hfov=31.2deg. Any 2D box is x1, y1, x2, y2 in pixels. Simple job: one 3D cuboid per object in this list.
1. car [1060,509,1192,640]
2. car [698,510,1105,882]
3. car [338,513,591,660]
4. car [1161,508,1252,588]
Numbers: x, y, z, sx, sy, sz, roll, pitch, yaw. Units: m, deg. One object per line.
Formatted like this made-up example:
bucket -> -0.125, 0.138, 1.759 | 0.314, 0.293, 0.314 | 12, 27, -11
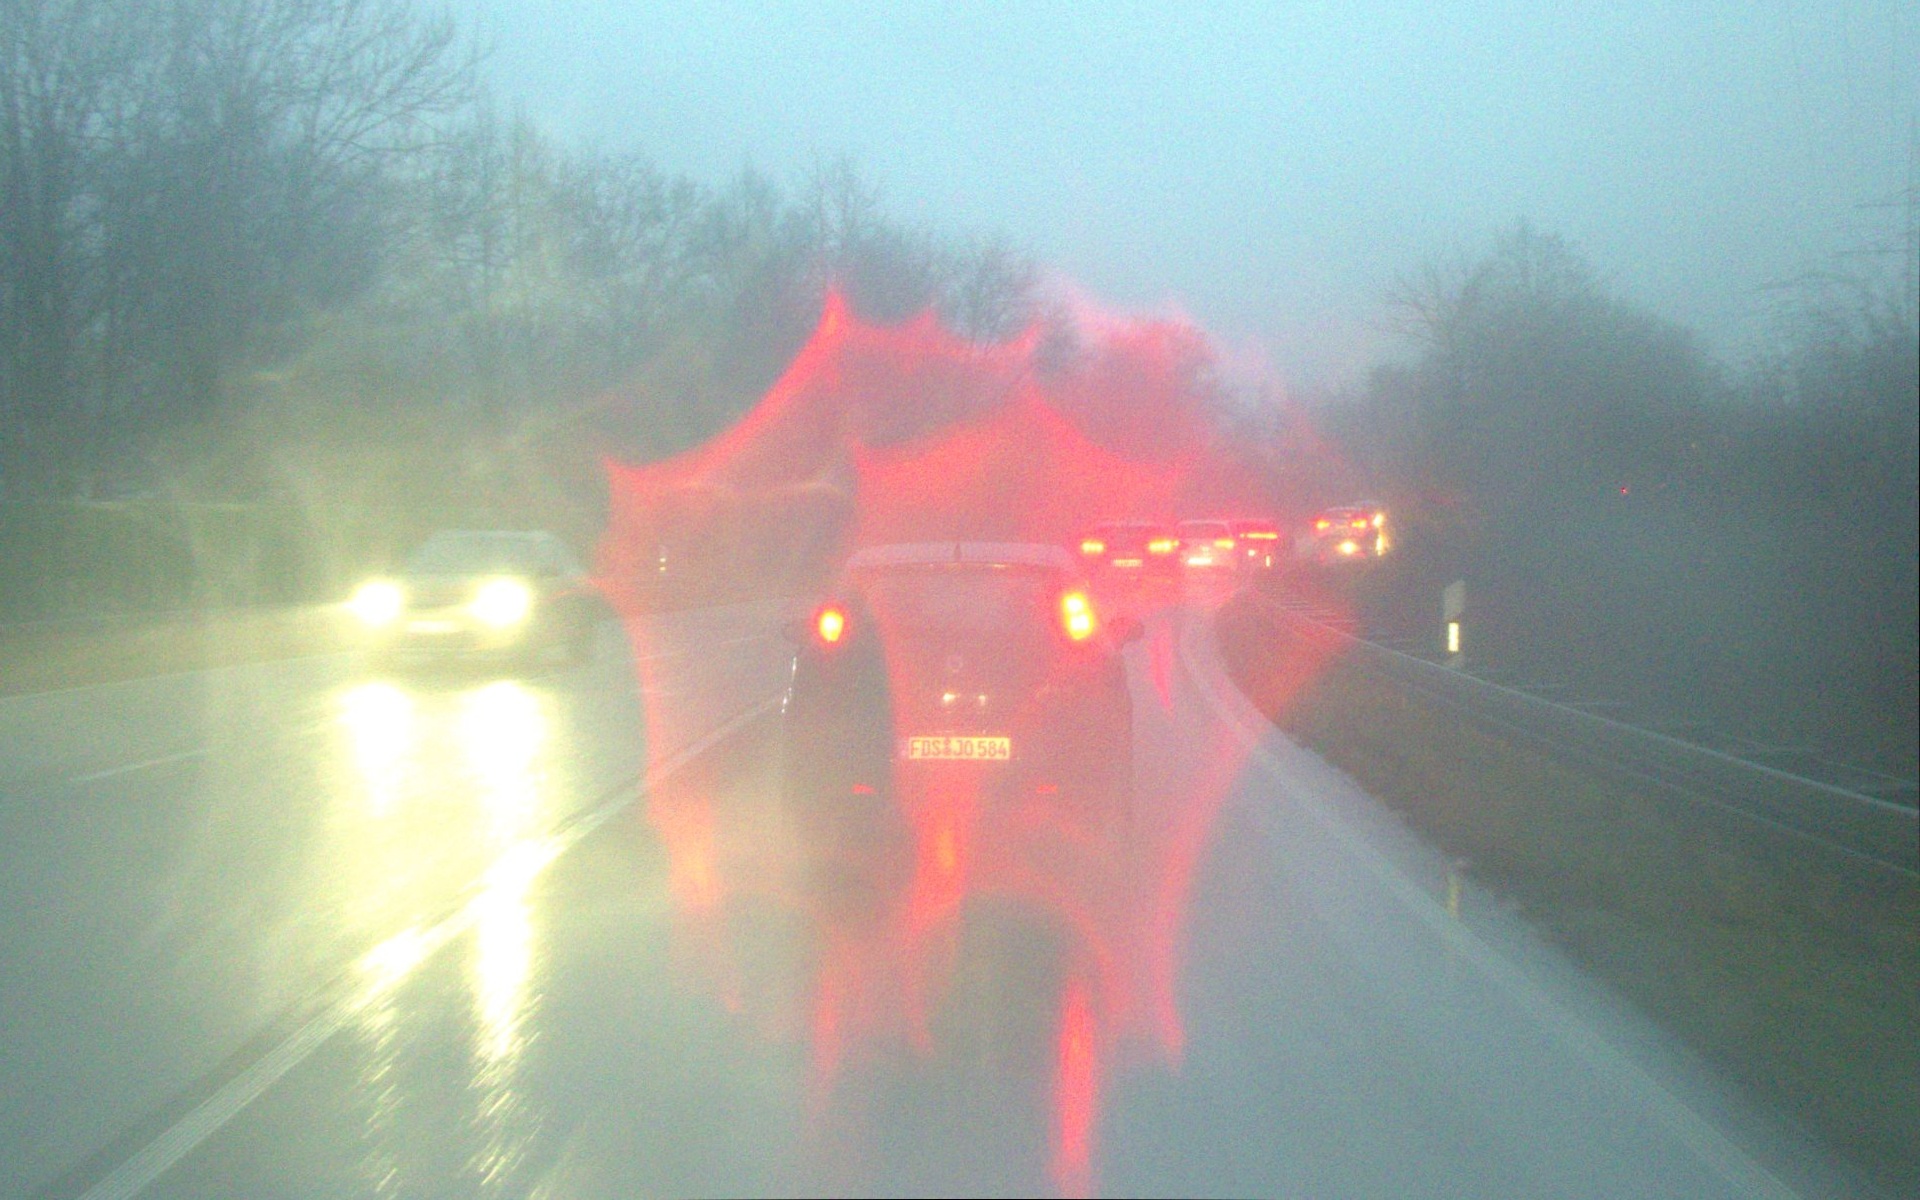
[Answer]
car -> 2.790, -0.418, 58.668 | 1.946, 2.007, 4.000 | -5, 0, 1
car -> -0.287, 0.382, 17.574 | 1.730, 1.527, 4.043 | -4, 2, -1
car -> -5.364, -0.193, 37.809 | 1.864, 1.496, 4.522 | -1, 1, 3
car -> 5.881, -1.252, 81.690 | 1.946, 1.738, 4.000 | -1, 3, 7
